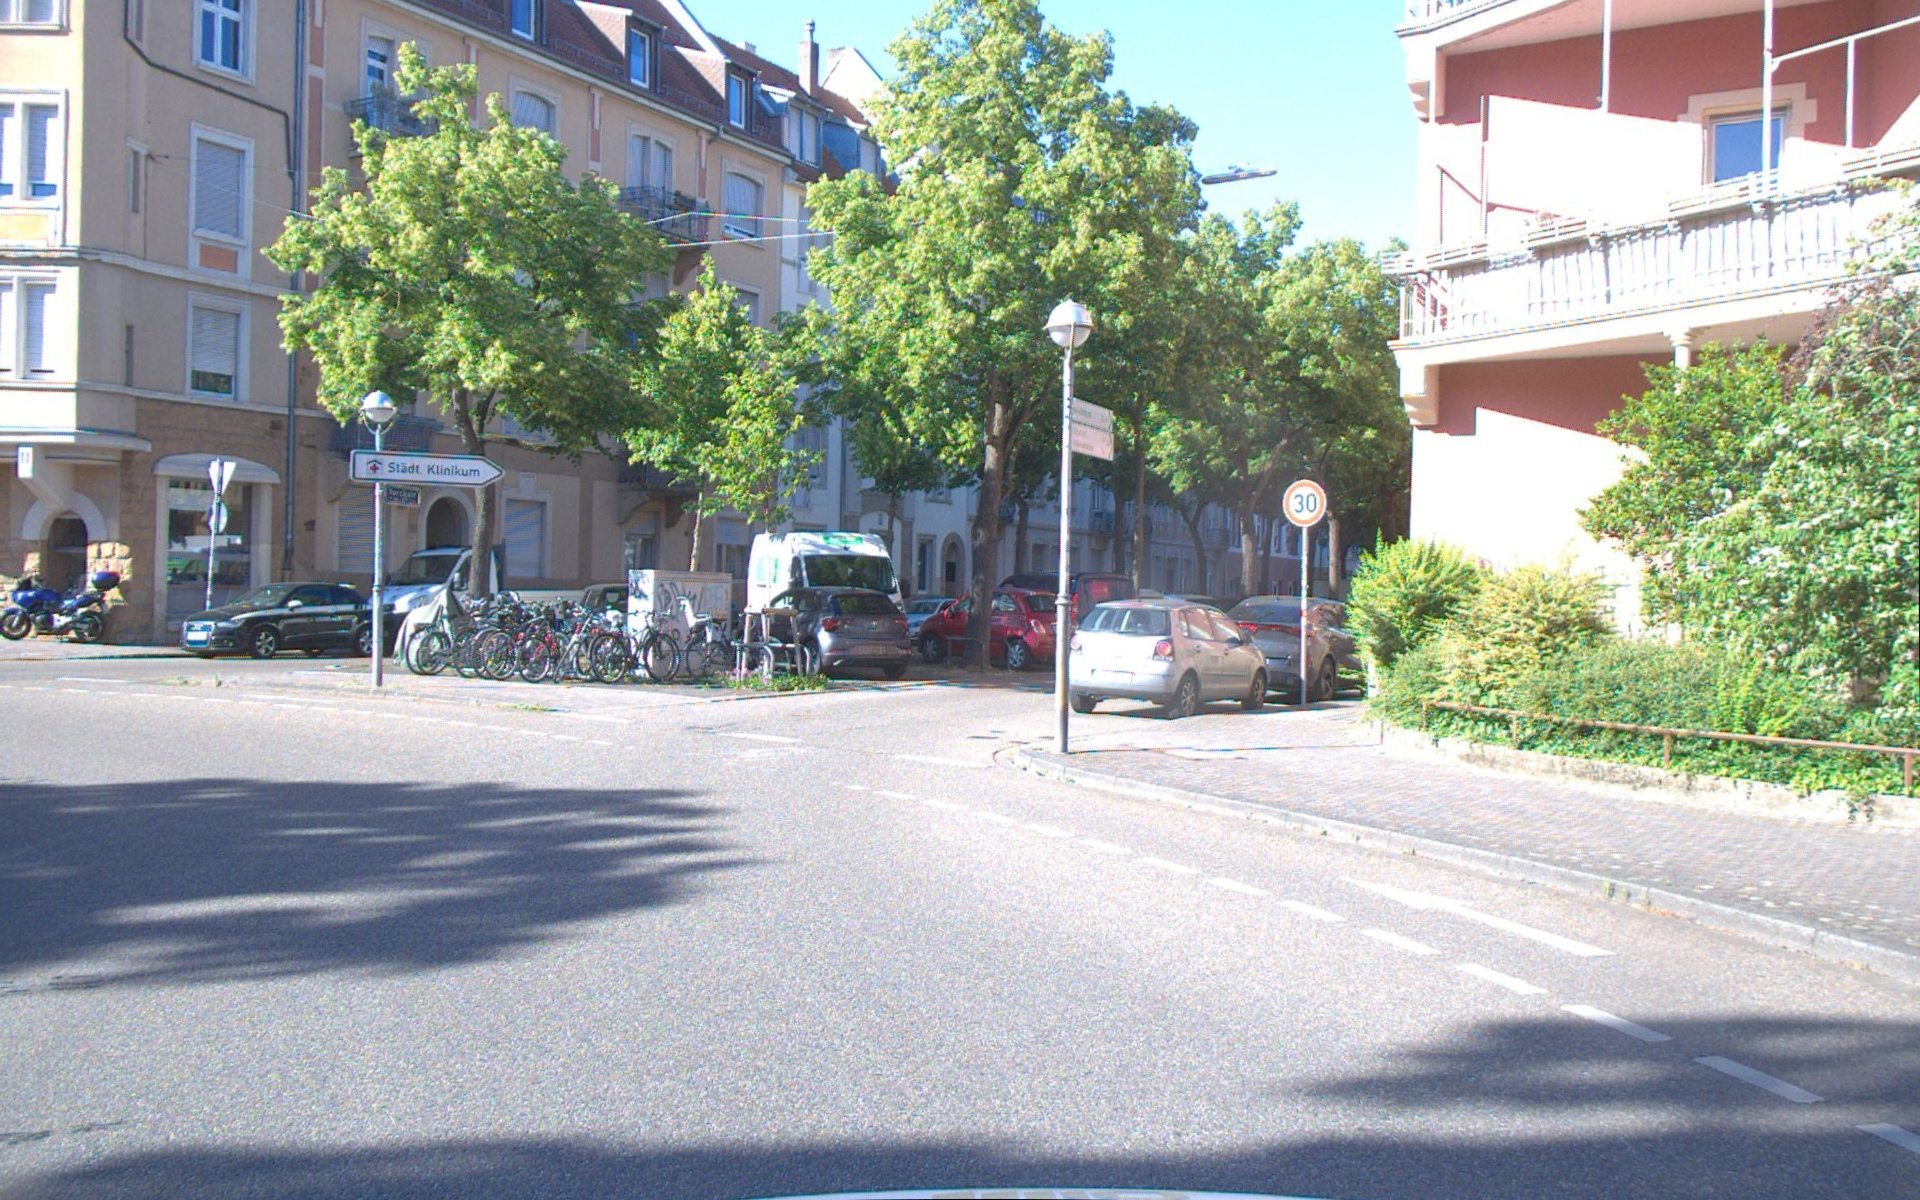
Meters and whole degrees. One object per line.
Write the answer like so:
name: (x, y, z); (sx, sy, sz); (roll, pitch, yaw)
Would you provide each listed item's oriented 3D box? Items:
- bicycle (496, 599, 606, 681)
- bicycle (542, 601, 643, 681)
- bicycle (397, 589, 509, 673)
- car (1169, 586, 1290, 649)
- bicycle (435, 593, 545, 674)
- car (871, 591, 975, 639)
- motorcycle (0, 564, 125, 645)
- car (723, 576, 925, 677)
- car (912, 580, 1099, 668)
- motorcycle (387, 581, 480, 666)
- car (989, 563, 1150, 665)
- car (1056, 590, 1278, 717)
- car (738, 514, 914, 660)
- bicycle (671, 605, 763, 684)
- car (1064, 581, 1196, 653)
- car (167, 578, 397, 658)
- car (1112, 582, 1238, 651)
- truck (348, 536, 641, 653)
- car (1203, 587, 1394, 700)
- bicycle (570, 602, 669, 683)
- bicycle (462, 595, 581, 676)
bicycle: (-5.931, 0.568, 24.037); (0.490, 1.121, 1.645); (2, 2, 33)
bicycle: (-5.311, 0.577, 23.980); (0.410, 1.108, 1.569); (2, 2, 33)
bicycle: (-7.701, 0.447, 25.187); (0.527, 1.213, 1.676); (2, 2, 31)
car: (7.122, 0.453, 43.979); (1.658, 1.495, 3.363); (2, 1, -21)
bicycle: (-7.030, 0.477, 24.809); (0.577, 1.146, 1.598); (2, 2, 31)
car: (-1.115, 0.454, 51.825); (1.650, 1.414, 3.918); (0, 0, 27)
motorcycle: (-17.560, 0.077, 32.200); (2.198, 1.435, 0.700); (3, 1, 0)
car: (-2.342, 0.411, 27.718); (1.668, 1.471, 3.876); (2, 1, -34)
car: (0.837, 0.432, 31.724); (3.328, 1.471, 1.676); (3, 1, 45)
motorcycle: (-8.586, 0.361, 26.924); (1.677, 1.292, 0.536); (3, 2, 36)
car: (2.177, 0.249, 33.712); (1.665, 1.897, 3.351); (2, 1, -30)
car: (2.827, 0.656, 22.014); (1.652, 1.471, 3.539); (3, 1, 30)
car: (-2.873, -0.313, 33.716); (2.064, 2.645, 6.344); (2, 1, -18)
bicycle: (-3.591, 0.645, 24.511); (0.411, 1.105, 1.522); (2, 2, 34)
car: (3.889, 0.372, 38.296); (1.658, 1.495, 3.363); (2, 1, -21)
car: (-12.726, 0.316, 31.273); (1.650, 1.414, 3.918); (0, 0, 27)
car: (5.226, 0.379, 40.600); (1.658, 1.495, 3.363); (2, 1, -21)
truck: (-10.035, -0.108, 36.369); (2.093, 2.332, 6.606); (0, 0, 31)
car: (5.463, 0.640, 26.302); (1.652, 1.589, 4.286); (3, 1, 30)
bicycle: (-4.891, 0.592, 23.819); (0.411, 1.105, 1.522); (2, 2, 34)
bicycle: (-6.452, 0.502, 24.416); (0.643, 1.107, 1.726); (2, 2, 31)
